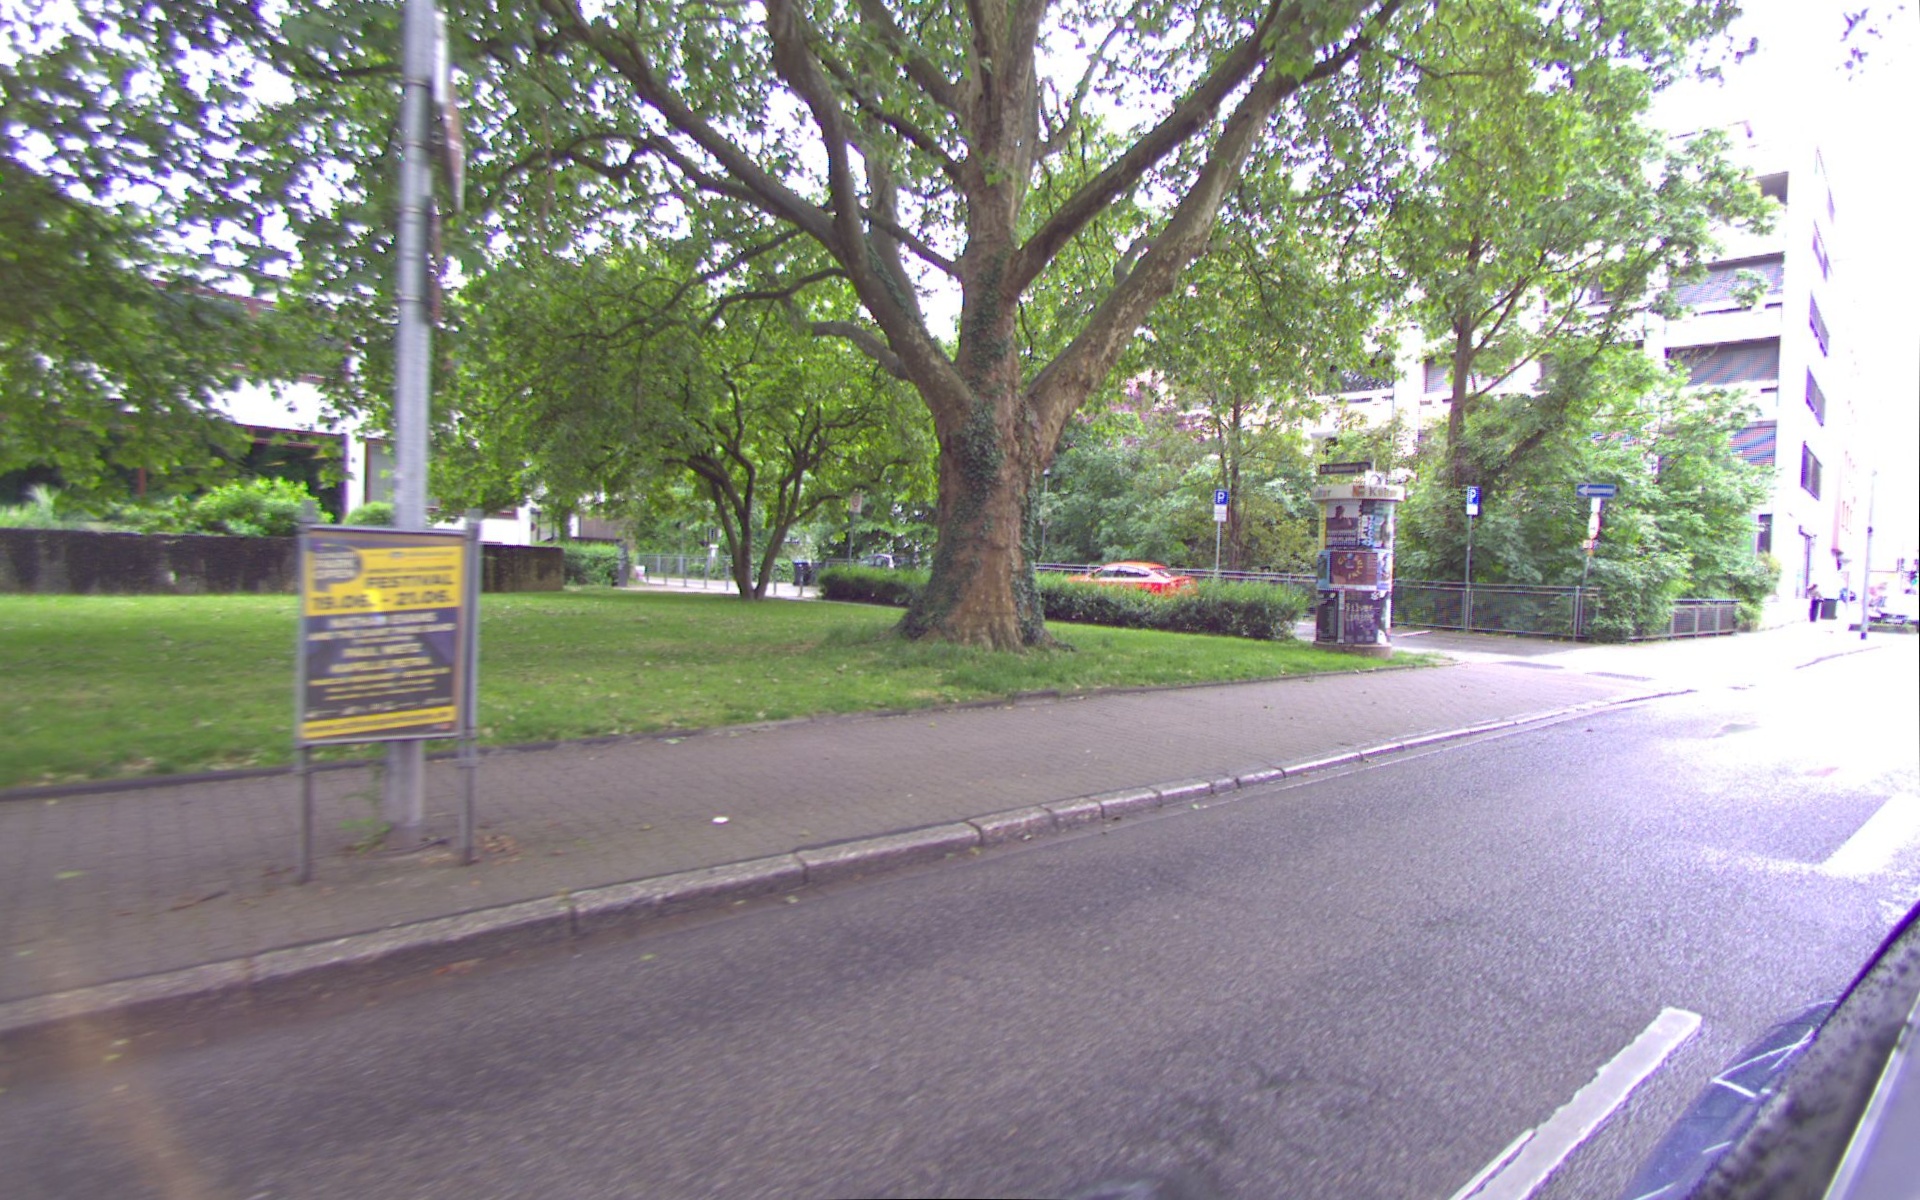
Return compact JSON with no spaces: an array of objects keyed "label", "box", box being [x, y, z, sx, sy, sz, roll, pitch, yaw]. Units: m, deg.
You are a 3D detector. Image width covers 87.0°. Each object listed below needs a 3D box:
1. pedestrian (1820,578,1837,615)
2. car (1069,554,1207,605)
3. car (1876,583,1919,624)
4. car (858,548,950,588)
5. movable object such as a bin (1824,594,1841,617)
[{"label":"pedestrian","box":[36.622,-0.140,42.654,0.473,1.549,0.480,-1,0,-40]},{"label":"car","box":[5.151,-0.625,29.601,1.551,1.294,3.784,-1,4,-44]},{"label":"car","box":[37.588,0.155,39.853,3.617,1.449,1.681,0,6,-41]},{"label":"car","box":[-2.087,-1.200,37.313,3.460,1.294,1.426,5,4,45]},{"label":"movable object such as a bin","box":[42.101,0.267,48.825,0.287,1.054,0.556,0,3,-41]}]
